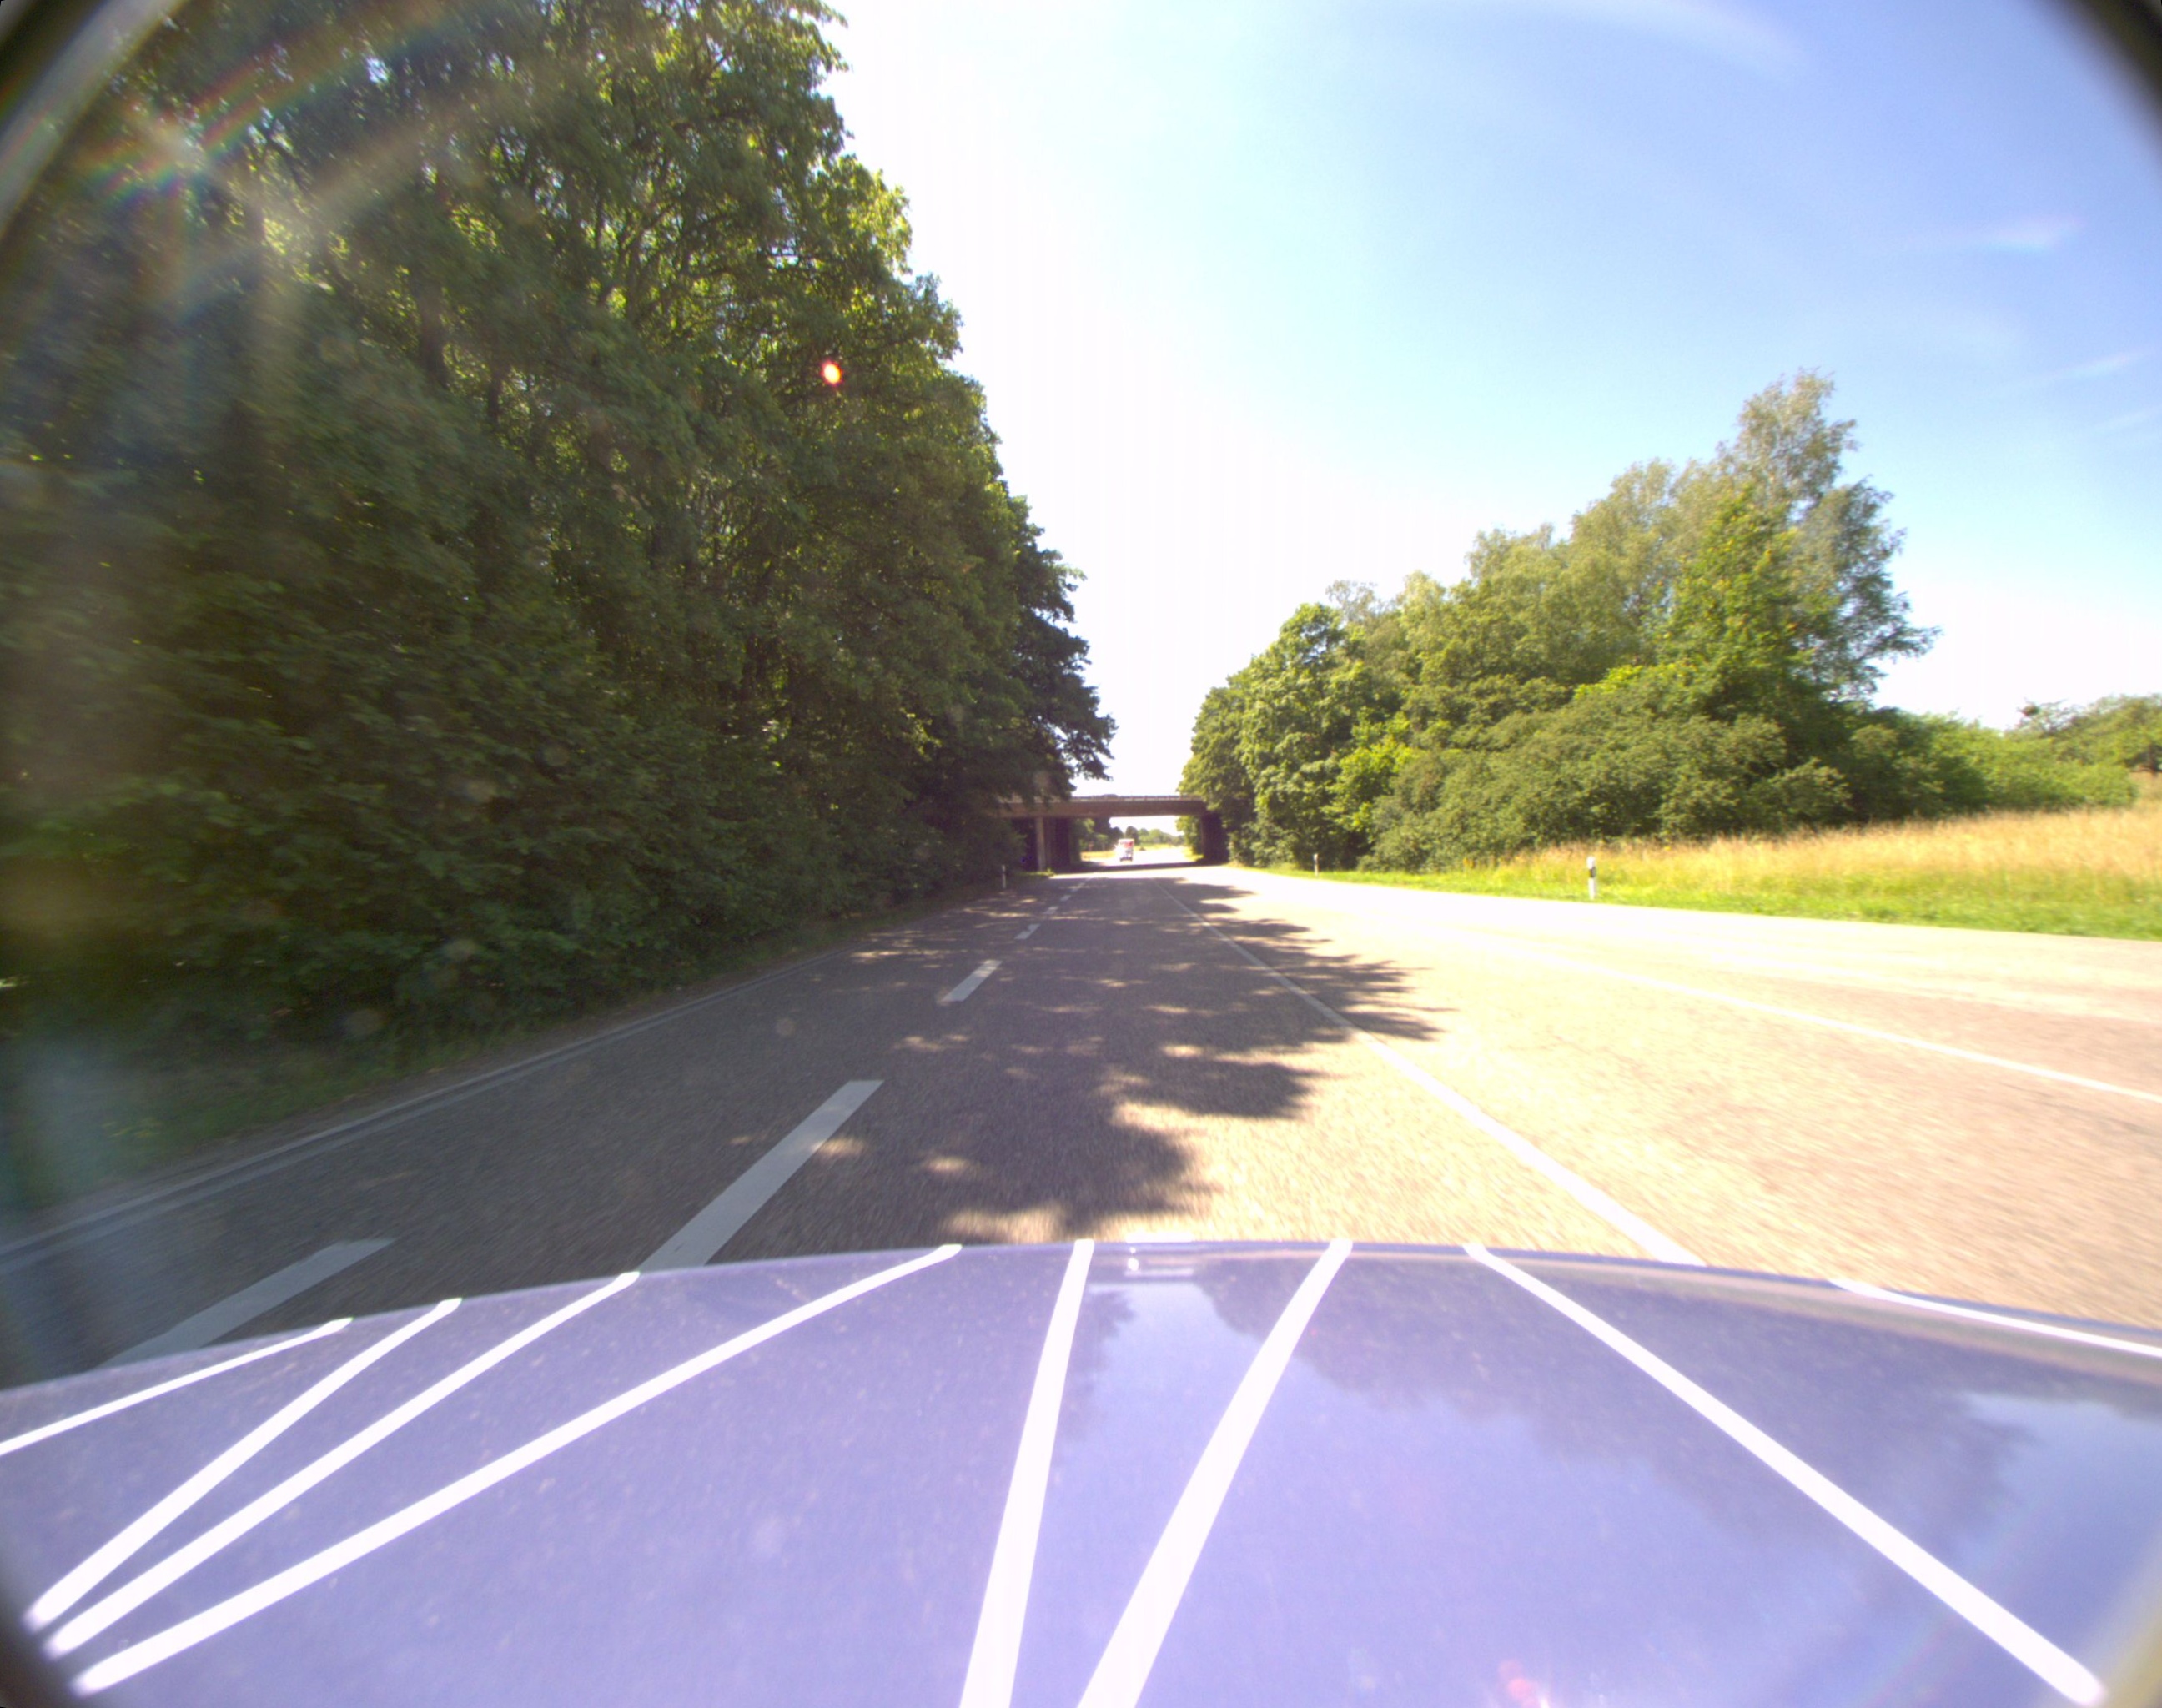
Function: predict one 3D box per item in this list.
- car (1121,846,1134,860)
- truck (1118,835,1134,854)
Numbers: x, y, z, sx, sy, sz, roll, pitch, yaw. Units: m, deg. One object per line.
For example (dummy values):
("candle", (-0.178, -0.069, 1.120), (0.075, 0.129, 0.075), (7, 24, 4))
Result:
("car", (6.367, -0.152, 104.177), (1.746, 1.833, 4.000), (-2, 1, 3))
("truck", (7.385, -1.505, 124.591), (2.457, 2.927, 6.975), (-2, 1, 4))
